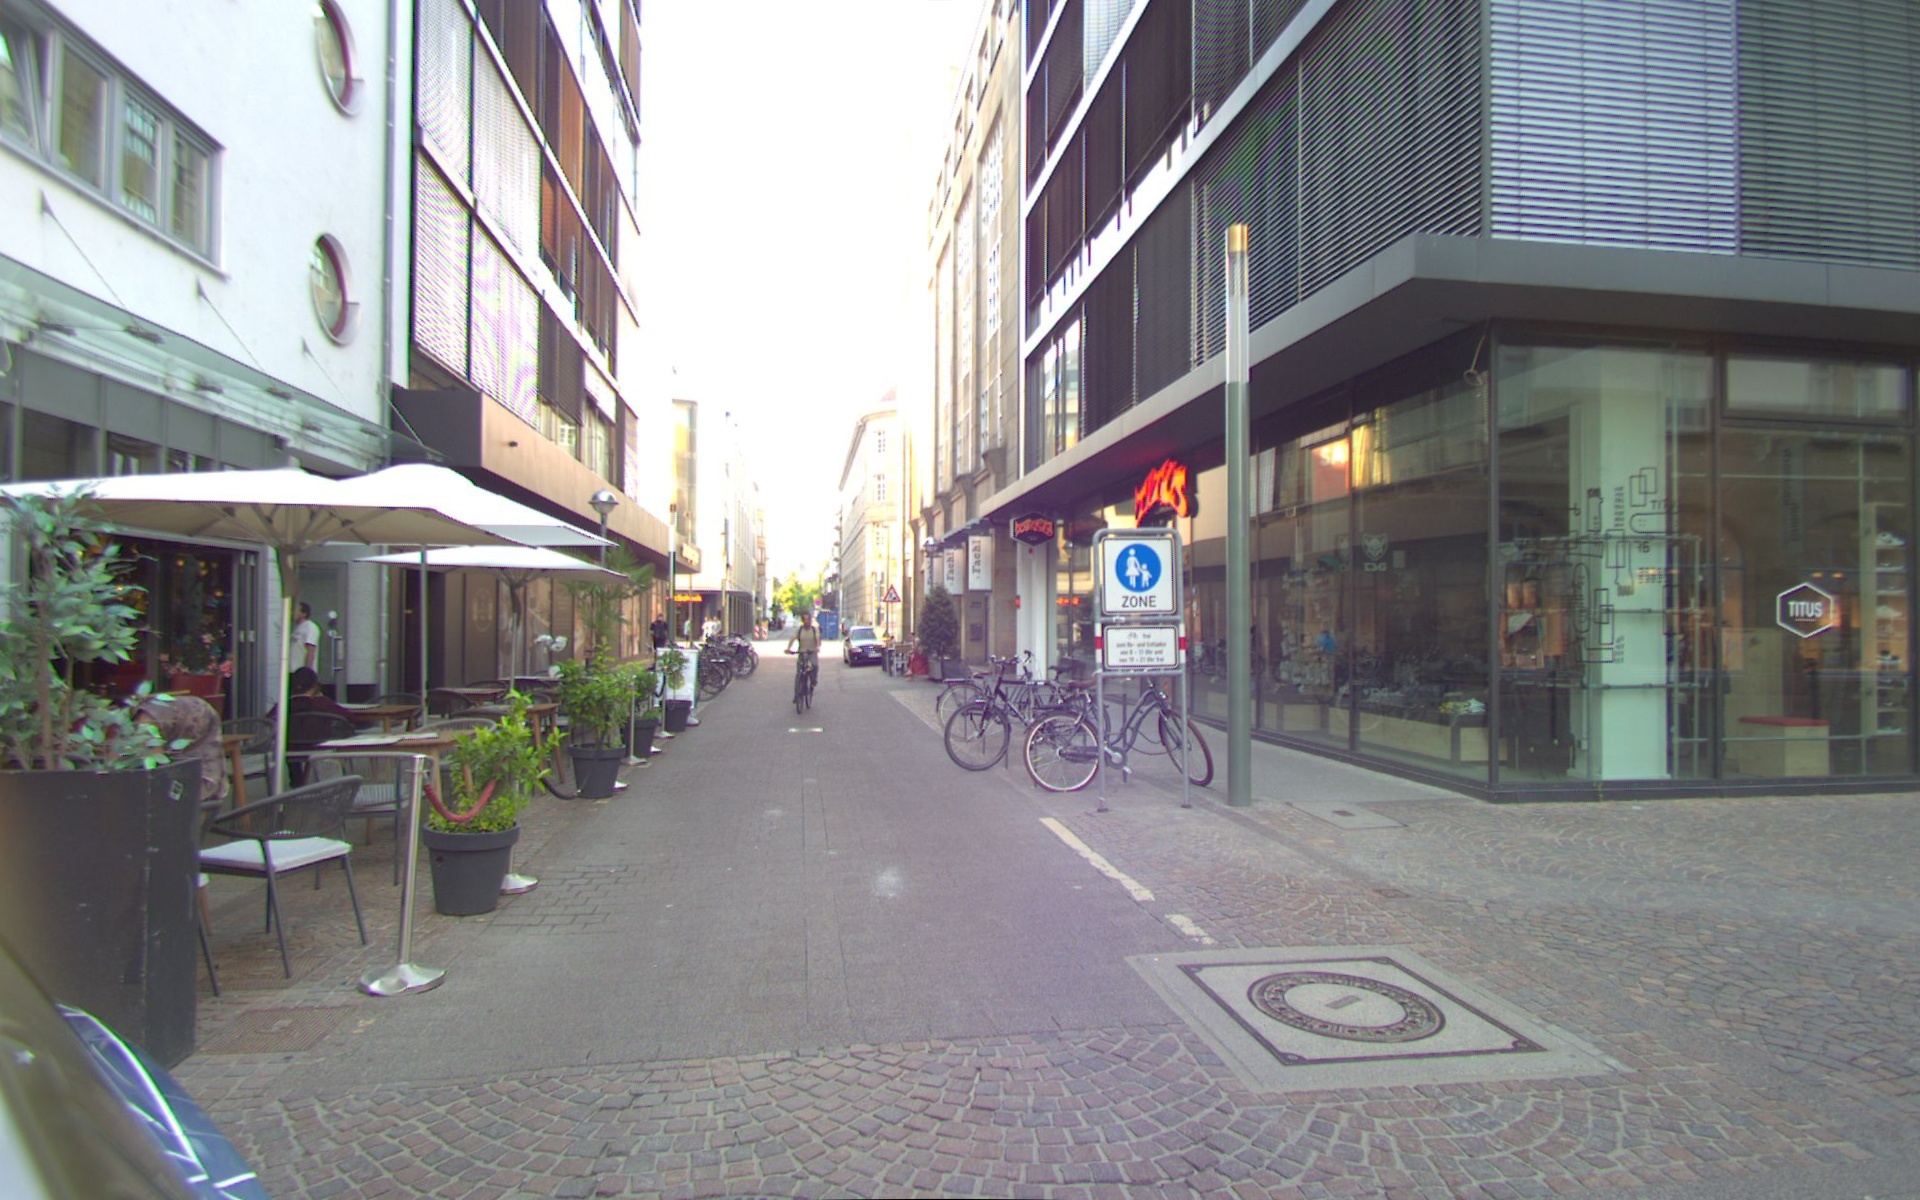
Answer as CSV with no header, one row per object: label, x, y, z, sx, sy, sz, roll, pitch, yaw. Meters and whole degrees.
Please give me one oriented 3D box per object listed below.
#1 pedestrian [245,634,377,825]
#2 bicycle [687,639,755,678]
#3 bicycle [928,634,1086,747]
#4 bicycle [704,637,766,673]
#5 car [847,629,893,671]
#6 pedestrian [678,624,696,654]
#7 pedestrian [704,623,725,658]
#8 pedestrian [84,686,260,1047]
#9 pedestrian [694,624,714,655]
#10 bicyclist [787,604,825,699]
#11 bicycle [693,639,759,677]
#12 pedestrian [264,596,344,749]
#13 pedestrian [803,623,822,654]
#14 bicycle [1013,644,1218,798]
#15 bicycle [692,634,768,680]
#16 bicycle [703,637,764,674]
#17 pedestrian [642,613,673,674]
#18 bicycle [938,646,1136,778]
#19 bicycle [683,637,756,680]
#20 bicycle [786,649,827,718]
pedestrian,-5.175,0.993,8.123,0.567,1.431,0.869,0,-2,-8
bicycle,-7.356,1.786,31.240,2.007,1.176,0.620,0,-2,-9
bicycle,0.593,1.135,12.939,1.873,1.279,0.539,-3,-1,-8
bicycle,-7.508,1.835,33.803,2.007,1.176,0.620,0,-2,-9
car,-3.275,1.786,36.906,1.579,1.434,3.608,0,-2,-5
pedestrian,-14.176,2.038,52.534,0.625,1.536,0.784,1,-1,-38
pedestrian,-11.717,1.930,48.319,0.636,1.633,0.772,0,-1,42
pedestrian,-2.921,0.948,3.780,0.393,1.223,0.384,0,-2,-18
pedestrian,-13.441,2.073,53.175,0.780,1.633,0.629,0,-1,32
bicyclist,-2.796,0.923,18.351,0.665,1.683,0.871,0,-2,-10
bicycle,-7.463,1.837,32.339,2.007,1.176,0.620,0,-2,-9
pedestrian,-7.897,0.856,12.208,0.630,1.785,0.604,0,-2,-14
pedestrian,-8.105,2.100,55.488,0.762,1.650,0.662,0,-1,30
bicycle,1.341,1.024,8.823,1.644,1.213,0.510,-2,-1,-9
bicycle,-6.485,1.609,28.610,2.007,1.176,0.667,3,-2,-9
bicycle,-7.782,1.908,34.800,2.007,1.225,0.620,0,-2,-9
pedestrian,-9.221,1.317,30.840,0.791,1.850,0.676,0,-2,-7
bicycle,0.765,1.107,10.279,1.873,1.190,0.518,-2,-3,-10
bicycle,-7.106,1.728,30.007,2.007,1.176,0.620,3,-2,-9
bicycle,-2.804,1.478,18.407,0.688,1.137,2.009,0,-2,-10
